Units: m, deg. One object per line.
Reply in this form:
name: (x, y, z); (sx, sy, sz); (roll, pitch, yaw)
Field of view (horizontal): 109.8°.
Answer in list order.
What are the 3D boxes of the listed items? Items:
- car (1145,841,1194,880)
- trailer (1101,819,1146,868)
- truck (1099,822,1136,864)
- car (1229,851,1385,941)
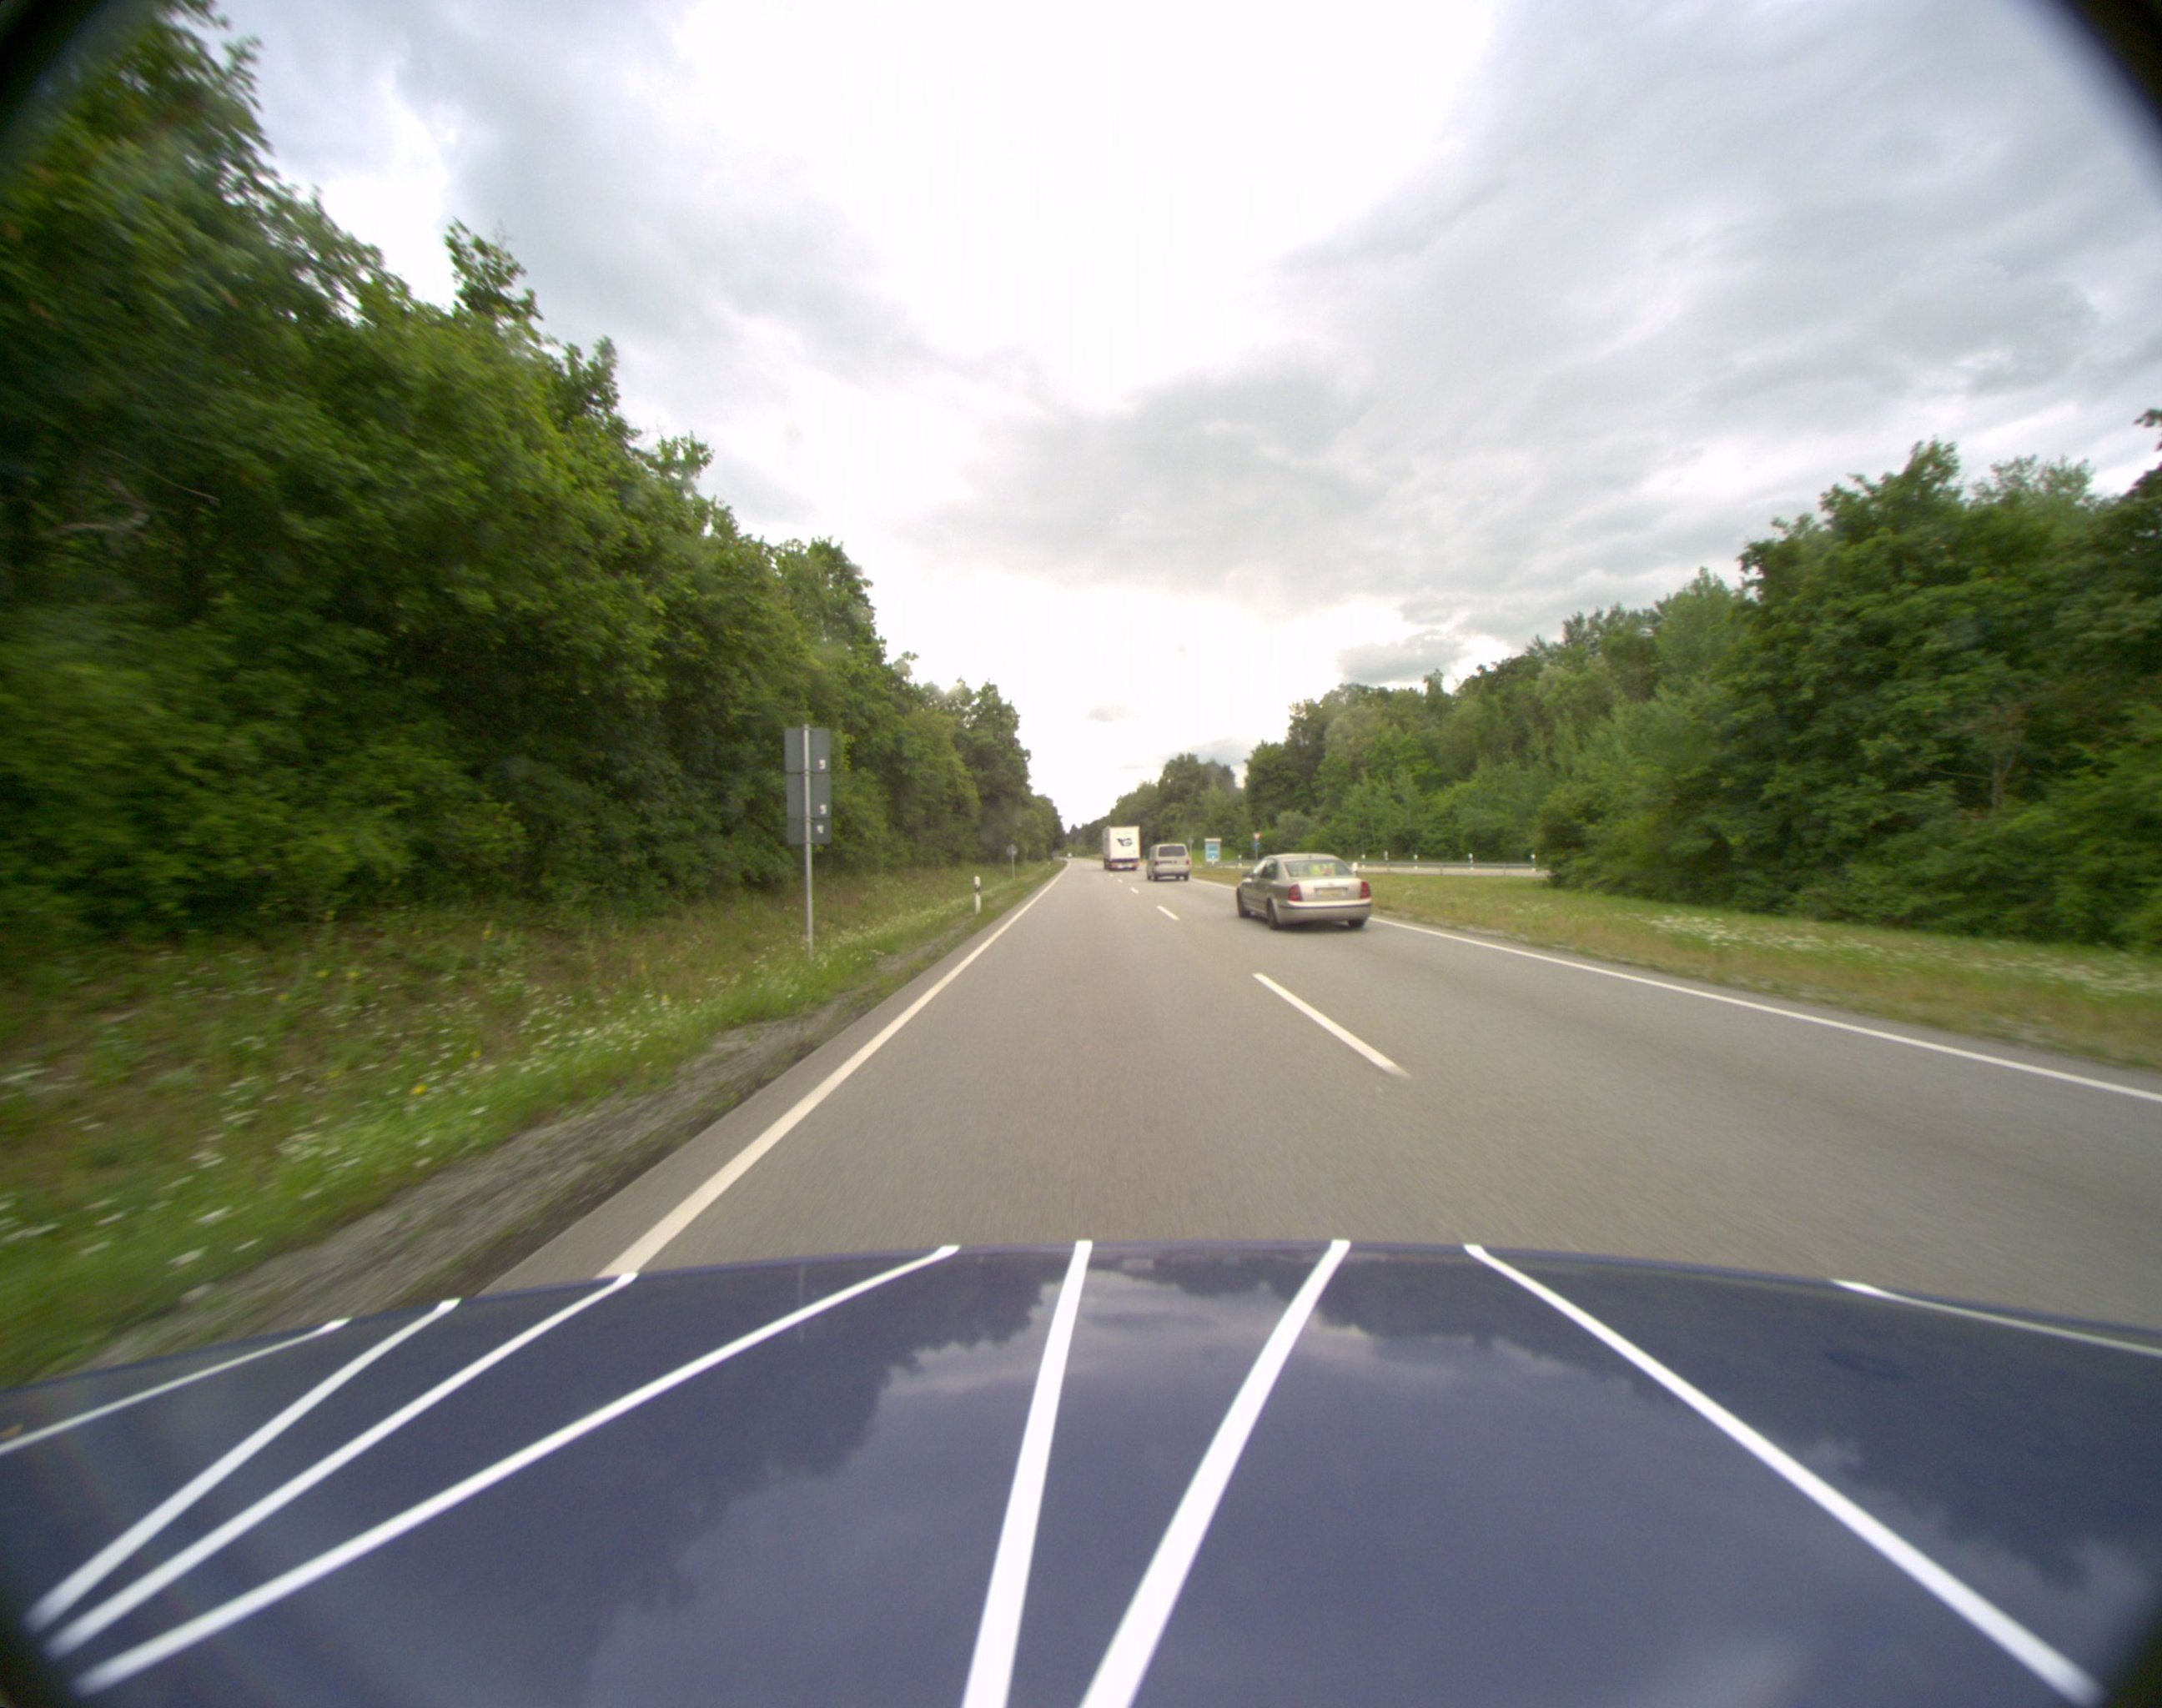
car: (4.798, 0.297, 41.998); (1.998, 1.929, 5.810); (-2, 1, 0)
trailer: (3.831, -0.965, 72.446); (3.212, 4.043, 14.269); (-2, 1, 0)
truck: (3.729, -1.105, 80.085); (3.198, 4.039, 9.573); (-2, 1, -1)
car: (4.275, 0.699, 15.125); (1.730, 1.426, 4.503); (-2, 1, 0)
